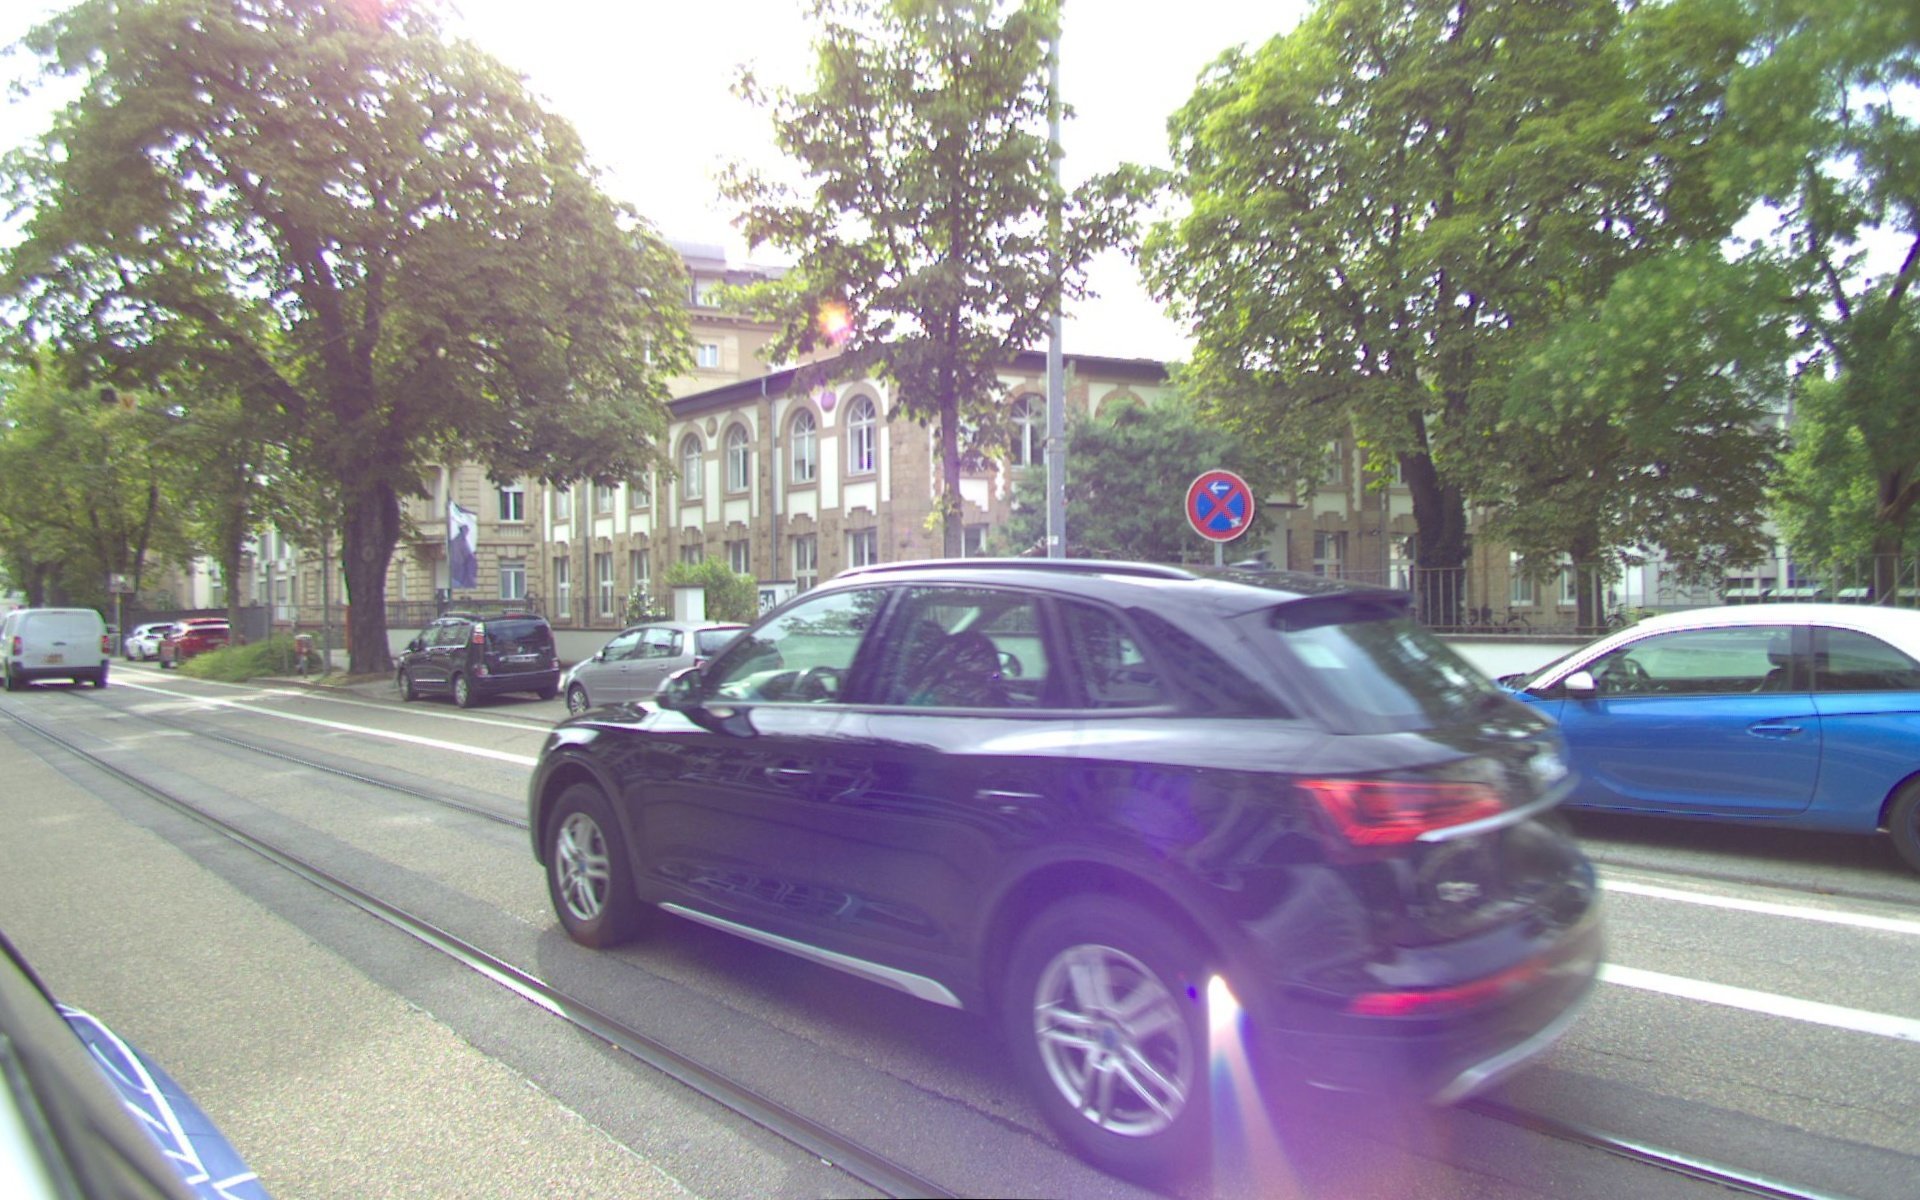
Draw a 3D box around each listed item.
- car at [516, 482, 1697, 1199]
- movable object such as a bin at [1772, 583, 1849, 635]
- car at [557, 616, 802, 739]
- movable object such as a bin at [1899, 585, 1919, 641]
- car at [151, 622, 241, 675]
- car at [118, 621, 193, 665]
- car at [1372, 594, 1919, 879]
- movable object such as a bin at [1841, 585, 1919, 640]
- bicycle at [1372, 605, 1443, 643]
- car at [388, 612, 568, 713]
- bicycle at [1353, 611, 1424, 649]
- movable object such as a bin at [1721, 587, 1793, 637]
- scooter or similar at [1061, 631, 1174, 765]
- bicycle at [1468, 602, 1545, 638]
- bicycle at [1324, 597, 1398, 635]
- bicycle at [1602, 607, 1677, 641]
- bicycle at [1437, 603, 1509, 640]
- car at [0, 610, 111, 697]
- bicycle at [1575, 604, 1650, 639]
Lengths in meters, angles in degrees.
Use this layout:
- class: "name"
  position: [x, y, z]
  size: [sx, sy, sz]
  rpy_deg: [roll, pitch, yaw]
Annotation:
- class: "car"
  position: [0.113, 0.633, 3.996]
  size: [4.333, 1.624, 1.828]
  rpy_deg: [-2, -1, 43]
- class: "movable object such as a bin"
  position: [24.305, 0.256, 28.932]
  size: [1.103, 1.441, 1.288]
  rpy_deg: [0, 0, -21]
- class: "car"
  position: [-4.011, 0.995, 14.206]
  size: [3.572, 1.476, 1.611]
  rpy_deg: [-2, -1, 41]
- class: "movable object such as a bin"
  position: [25.393, 0.333, 26.152]
  size: [1.103, 1.441, 1.288]
  rpy_deg: [0, 0, -21]
- class: "car"
  position: [-25.670, 1.588, 33.971]
  size: [3.904, 1.646, 1.637]
  rpy_deg: [-2, -1, 41]
- class: "car"
  position: [-31.927, 1.685, 40.134]
  size: [3.904, 1.613, 1.637]
  rpy_deg: [-2, -1, 41]
- class: "car"
  position: [4.785, 0.730, 6.538]
  size: [3.600, 1.476, 1.611]
  rpy_deg: [-2, -1, 41]
- class: "movable object such as a bin"
  position: [25.015, 0.338, 27.471]
  size: [1.103, 1.441, 1.288]
  rpy_deg: [0, 0, -21]
- class: "bicycle"
  position: [12.885, 0.686, 29.176]
  size: [0.584, 1.051, 1.984]
  rpy_deg: [-1, 0, -23]
- class: "car"
  position: [-8.915, 1.080, 18.604]
  size: [3.723, 1.646, 1.637]
  rpy_deg: [-2, -1, 41]
- class: "bicycle"
  position: [12.192, 0.836, 28.842]
  size: [0.584, 1.051, 1.984]
  rpy_deg: [-1, 0, -23]
- class: "movable object such as a bin"
  position: [23.793, 0.353, 30.228]
  size: [1.103, 1.441, 1.288]
  rpy_deg: [0, 0, -21]
- class: "scooter or similar"
  position: [1.483, 0.896, 9.503]
  size: [0.987, 1.176, 0.370]
  rpy_deg: [-1, -1, -24]
- class: "bicycle"
  position: [16.698, 0.603, 30.972]
  size: [1.978, 1.051, 0.586]
  rpy_deg: [-1, 0, 44]
- class: "bicycle"
  position: [11.305, 0.448, 28.607]
  size: [0.584, 1.051, 1.984]
  rpy_deg: [-1, 0, -30]
- class: "bicycle"
  position: [21.847, 0.769, 32.600]
  size: [0.584, 1.051, 1.984]
  rpy_deg: [-1, 0, -23]
- class: "bicycle"
  position: [15.178, 0.622, 30.007]
  size: [0.584, 1.051, 1.984]
  rpy_deg: [-1, 0, -23]
- class: "car"
  position: [-21.718, 1.200, 23.959]
  size: [4.676, 1.837, 1.776]
  rpy_deg: [-2, -1, 41]
- class: "bicycle"
  position: [20.627, 0.660, 32.048]
  size: [0.584, 1.051, 1.984]
  rpy_deg: [-1, 0, -23]
